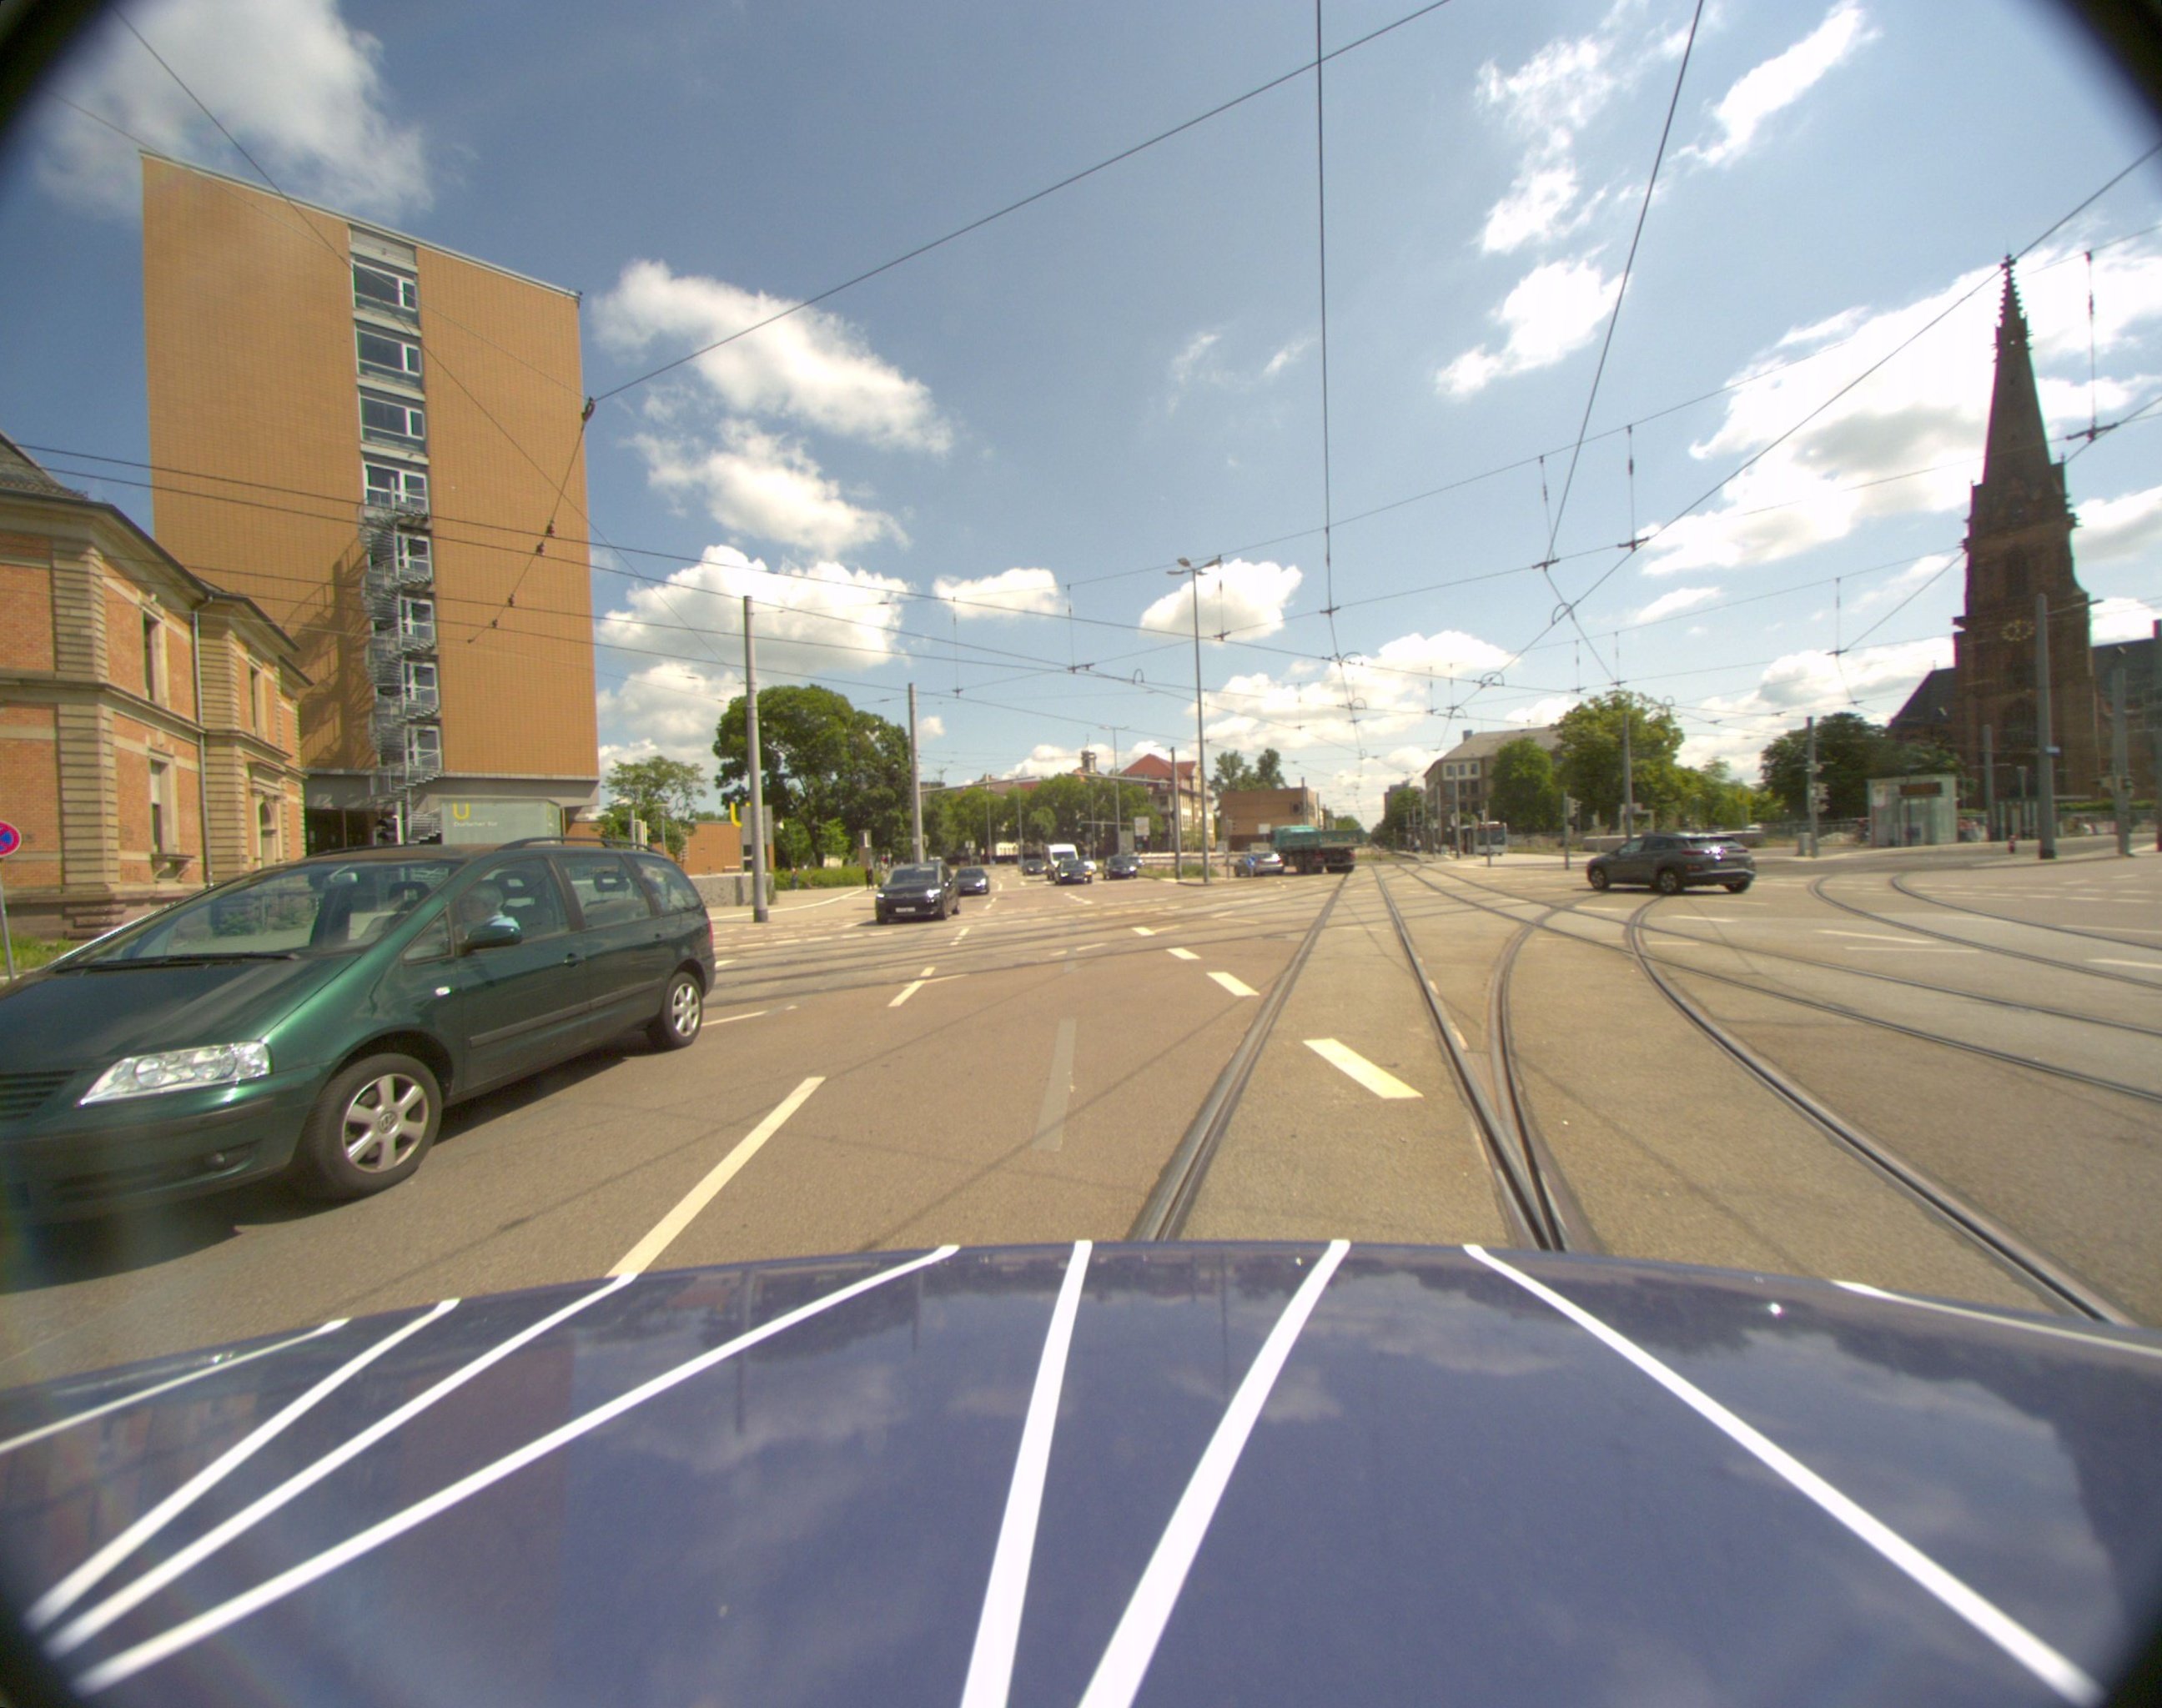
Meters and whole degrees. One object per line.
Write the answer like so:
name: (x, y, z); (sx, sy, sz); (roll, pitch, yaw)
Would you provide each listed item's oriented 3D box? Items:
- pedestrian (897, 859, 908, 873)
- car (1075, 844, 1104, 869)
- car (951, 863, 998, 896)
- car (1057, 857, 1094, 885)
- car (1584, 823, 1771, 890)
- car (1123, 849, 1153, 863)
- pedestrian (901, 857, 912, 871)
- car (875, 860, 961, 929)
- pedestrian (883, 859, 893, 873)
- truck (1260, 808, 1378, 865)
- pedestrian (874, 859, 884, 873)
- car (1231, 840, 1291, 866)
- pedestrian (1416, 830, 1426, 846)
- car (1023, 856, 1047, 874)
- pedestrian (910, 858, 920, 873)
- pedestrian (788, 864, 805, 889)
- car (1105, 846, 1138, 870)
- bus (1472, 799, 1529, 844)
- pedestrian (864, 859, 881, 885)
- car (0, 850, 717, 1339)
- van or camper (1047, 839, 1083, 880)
pedestrian: (-20.813, 1.390, 88.514); (1.152, 1.680, 1.309); (-2, 0, -15)
car: (0.685, 0.199, 63.850); (1.816, 2.002, 3.997); (-2, 1, -7)
car: (-5.549, 1.290, 40.036); (1.873, 1.477, 4.426); (-2, 0, -1)
car: (-0.361, 0.966, 45.211); (1.901, 1.455, 4.259); (-2, 0, -4)
car: (15.434, -0.007, 19.991); (1.813, 1.551, 4.107); (-2, 2, 3)
car: (5.300, 0.179, 71.478); (1.826, 1.224, 3.936); (-2, 0, -10)
pedestrian: (-21.381, 1.276, 93.164); (1.152, 1.680, 1.309); (-2, 0, -15)
car: (-4.473, 1.040, 21.467); (1.874, 1.607, 4.423); (-1, 1, -6)
pedestrian: (-24.004, 1.459, 94.369); (1.152, 1.680, 1.309); (-2, 0, -15)
truck: (13.878, -0.928, 45.346); (3.356, 2.980, 8.729); (-2, 0, -7)
pedestrian: (-24.967, 1.481, 93.743); (1.152, 1.680, 1.309); (-2, 0, -15)
car: (10.479, -0.035, 44.556); (1.854, 1.407, 4.336); (-1, 0, -9)
pedestrian: (38.911, -1.878, 86.894); (0.910, 1.812, 1.022); (0, 2, 17)
car: (-4.337, 0.991, 71.482); (1.782, 1.565, 3.958); (-2, 0, -9)
pedestrian: (-19.613, 1.352, 89.749); (1.152, 1.680, 1.309); (-2, 0, -15)
pedestrian: (-19.125, 1.491, 51.021); (0.830, 1.616, 0.767); (-2, 0, -3)
car: (2.539, 0.249, 48.105); (1.671, 1.368, 3.914); (-2, 0, -2)
bus: (35.253, -2.628, 64.191); (2.946, 3.427, 7.958); (-2, 1, 20)
pedestrian: (-13.056, 1.139, 47.561); (0.830, 1.576, 0.767); (-2, 0, -3)
car: (-4.197, 0.890, 4.749); (1.819, 1.707, 4.084); (-4, 1, -1)
van or camper: (-1.209, 0.373, 54.377); (2.232, 2.719, 5.519); (-2, 0, -4)
